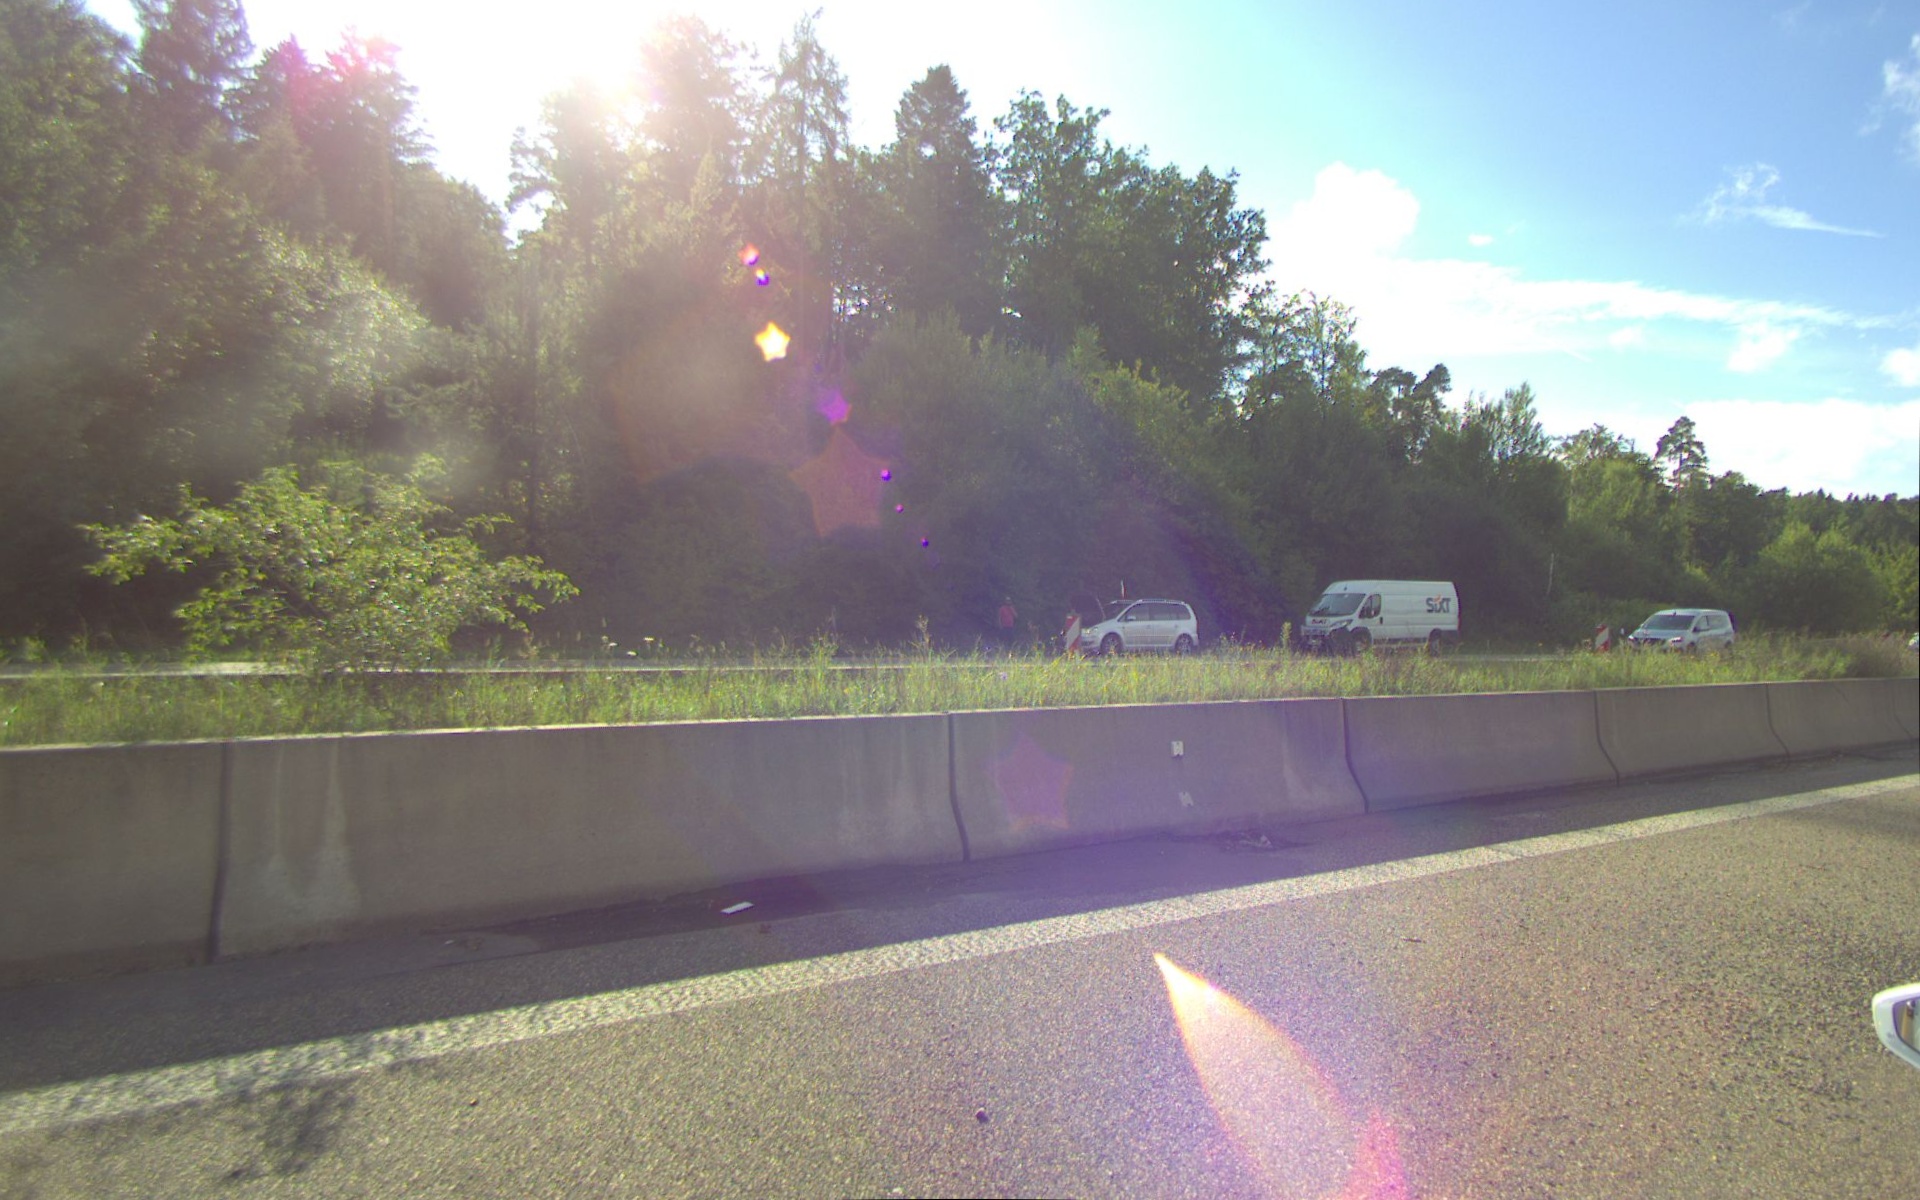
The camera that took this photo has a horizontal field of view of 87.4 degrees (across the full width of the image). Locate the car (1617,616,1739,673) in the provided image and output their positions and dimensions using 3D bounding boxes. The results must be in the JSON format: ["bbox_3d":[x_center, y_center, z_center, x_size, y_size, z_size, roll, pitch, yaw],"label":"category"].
[{"bbox_3d":[24.616,1.519,34.415,4.314,1.809,1.769,2,0,-31],"label":"car"}]

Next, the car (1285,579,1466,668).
[{"bbox_3d":[13.801,0.810,33.167,6.447,2.720,2.018,2,0,-31],"label":"car"}]

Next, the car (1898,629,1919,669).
[{"bbox_3d":[46.164,2.347,47.267,4.314,1.809,1.769,2,0,-31],"label":"car"}]

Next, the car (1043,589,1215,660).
[{"bbox_3d":[4.840,0.712,28.512,4.706,1.878,1.851,2,0,-31],"label":"car"}]
